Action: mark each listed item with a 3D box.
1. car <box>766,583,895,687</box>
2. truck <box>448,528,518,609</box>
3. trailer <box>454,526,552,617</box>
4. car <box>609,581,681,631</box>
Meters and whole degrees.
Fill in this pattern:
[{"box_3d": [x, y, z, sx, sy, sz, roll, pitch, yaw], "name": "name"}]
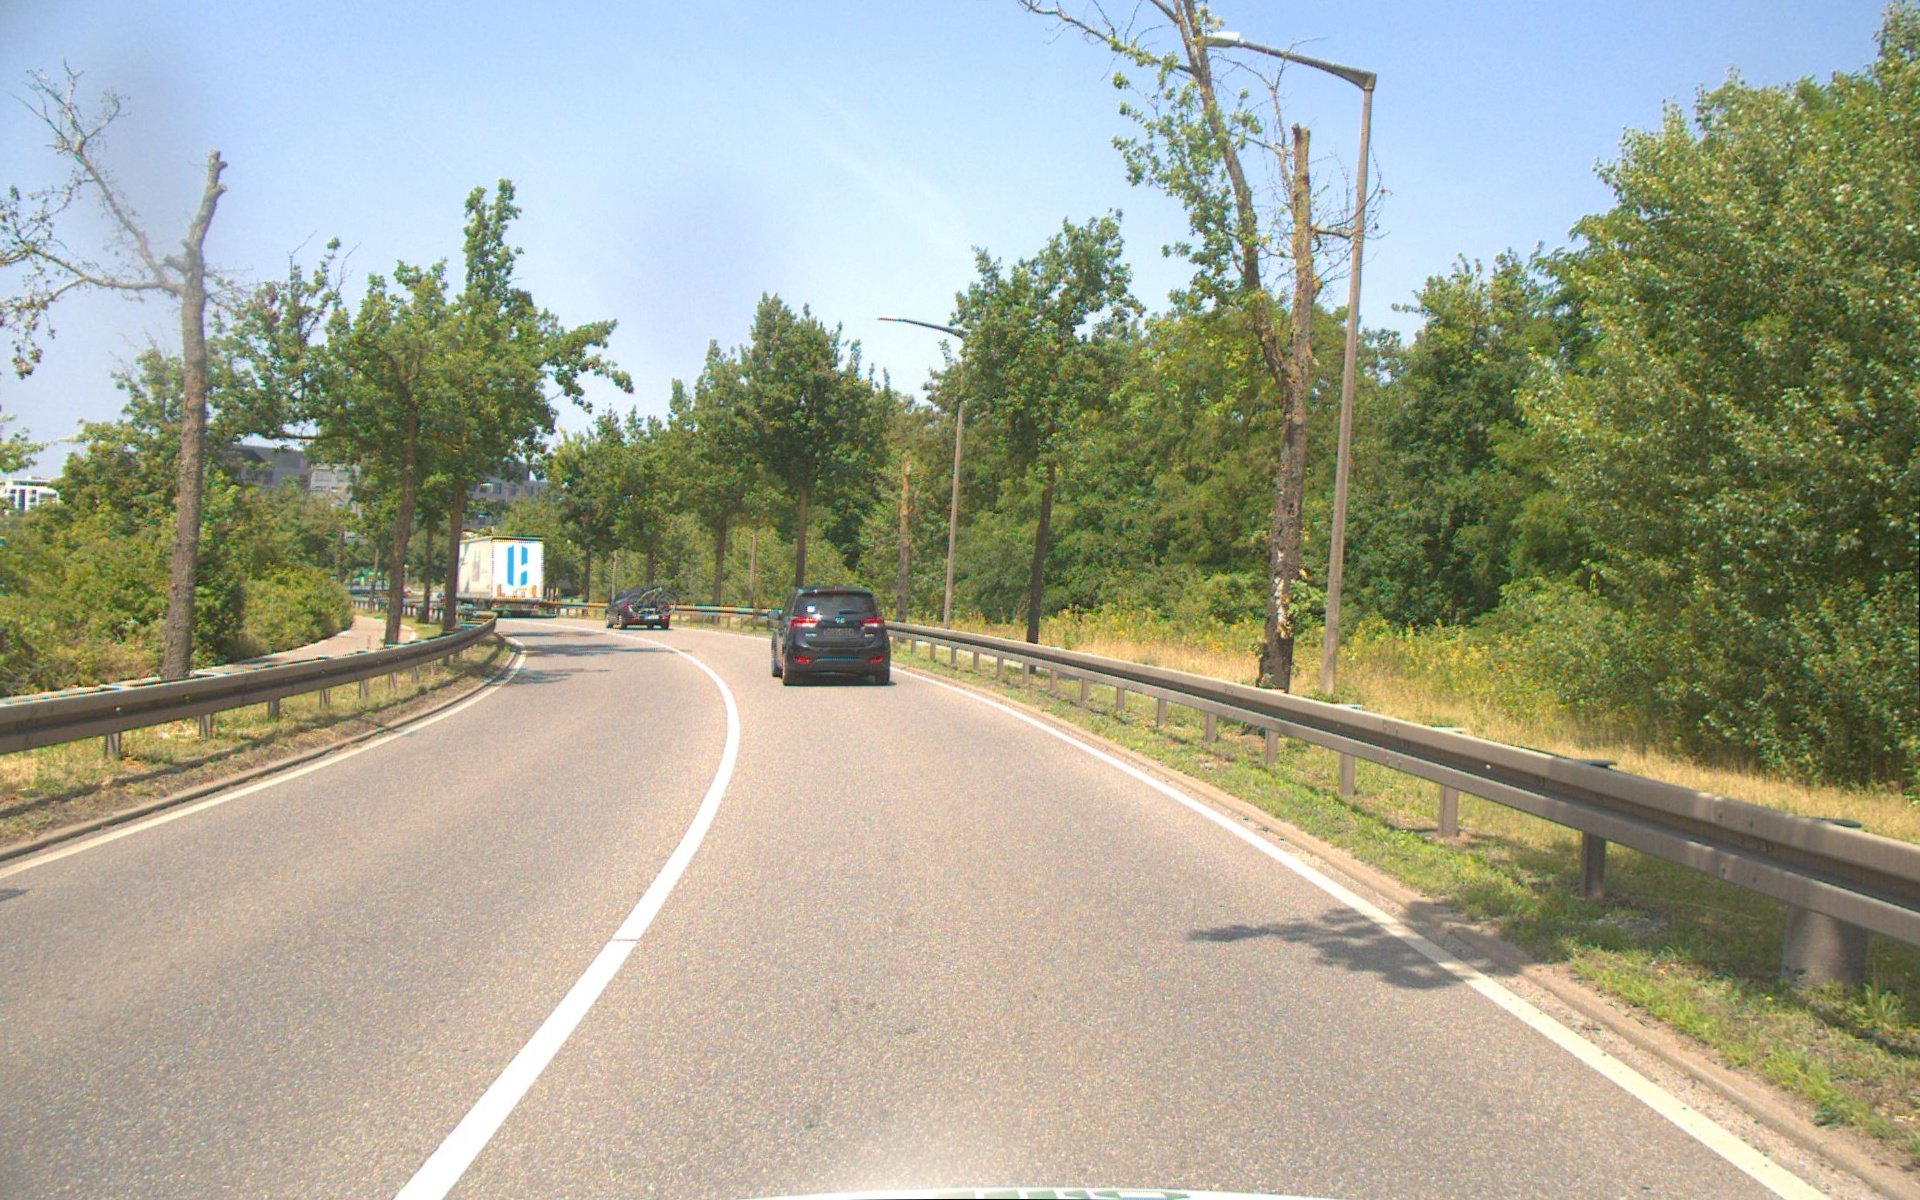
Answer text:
[{"box_3d": [-2.271, 0.529, 28.083, 1.736, 1.627, 4.066, 0, 1, -11], "name": "car"}, {"box_3d": [-27.817, -1.828, 96.260, 3.035, 4.444, 6.036, 2, 1, -23], "name": "truck"}, {"box_3d": [-24.794, -1.612, 89.060, 3.037, 4.444, 14.670, 2, 1, -23], "name": "trailer"}, {"box_3d": [-11.251, 0.208, 58.936, 1.927, 1.662, 4.256, 2, -1, -19], "name": "car"}]
